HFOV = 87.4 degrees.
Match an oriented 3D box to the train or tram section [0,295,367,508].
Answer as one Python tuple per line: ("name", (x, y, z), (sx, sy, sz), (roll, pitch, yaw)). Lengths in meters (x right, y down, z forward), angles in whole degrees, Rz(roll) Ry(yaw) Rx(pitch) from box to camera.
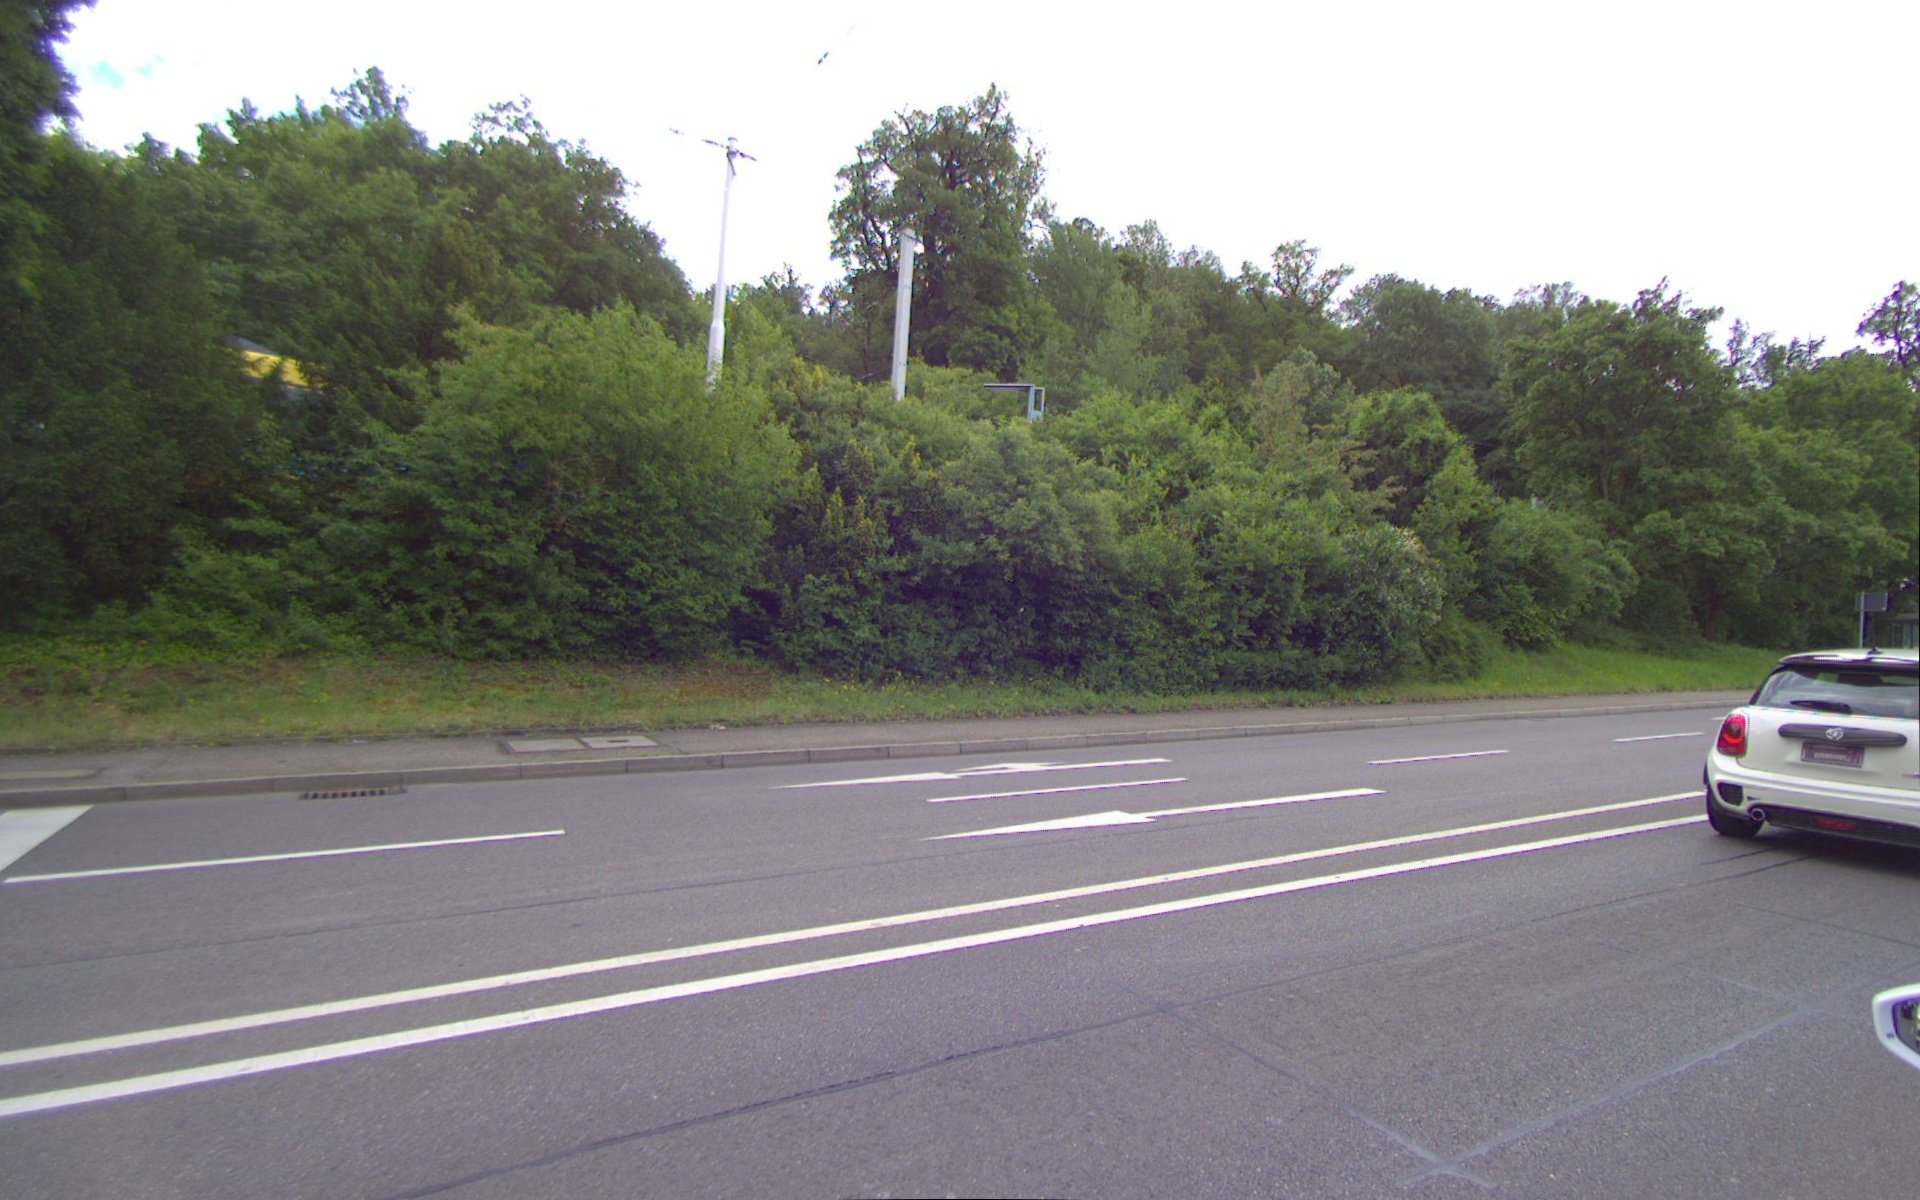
("train or tram section", (-16.387, -3.812, 19.591), (8.072, 3.083, 2.043), (4, -1, -35))

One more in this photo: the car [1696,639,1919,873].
("car", (7.168, 1.032, 7.445), (3.527, 1.411, 1.619), (2, -2, -33))
